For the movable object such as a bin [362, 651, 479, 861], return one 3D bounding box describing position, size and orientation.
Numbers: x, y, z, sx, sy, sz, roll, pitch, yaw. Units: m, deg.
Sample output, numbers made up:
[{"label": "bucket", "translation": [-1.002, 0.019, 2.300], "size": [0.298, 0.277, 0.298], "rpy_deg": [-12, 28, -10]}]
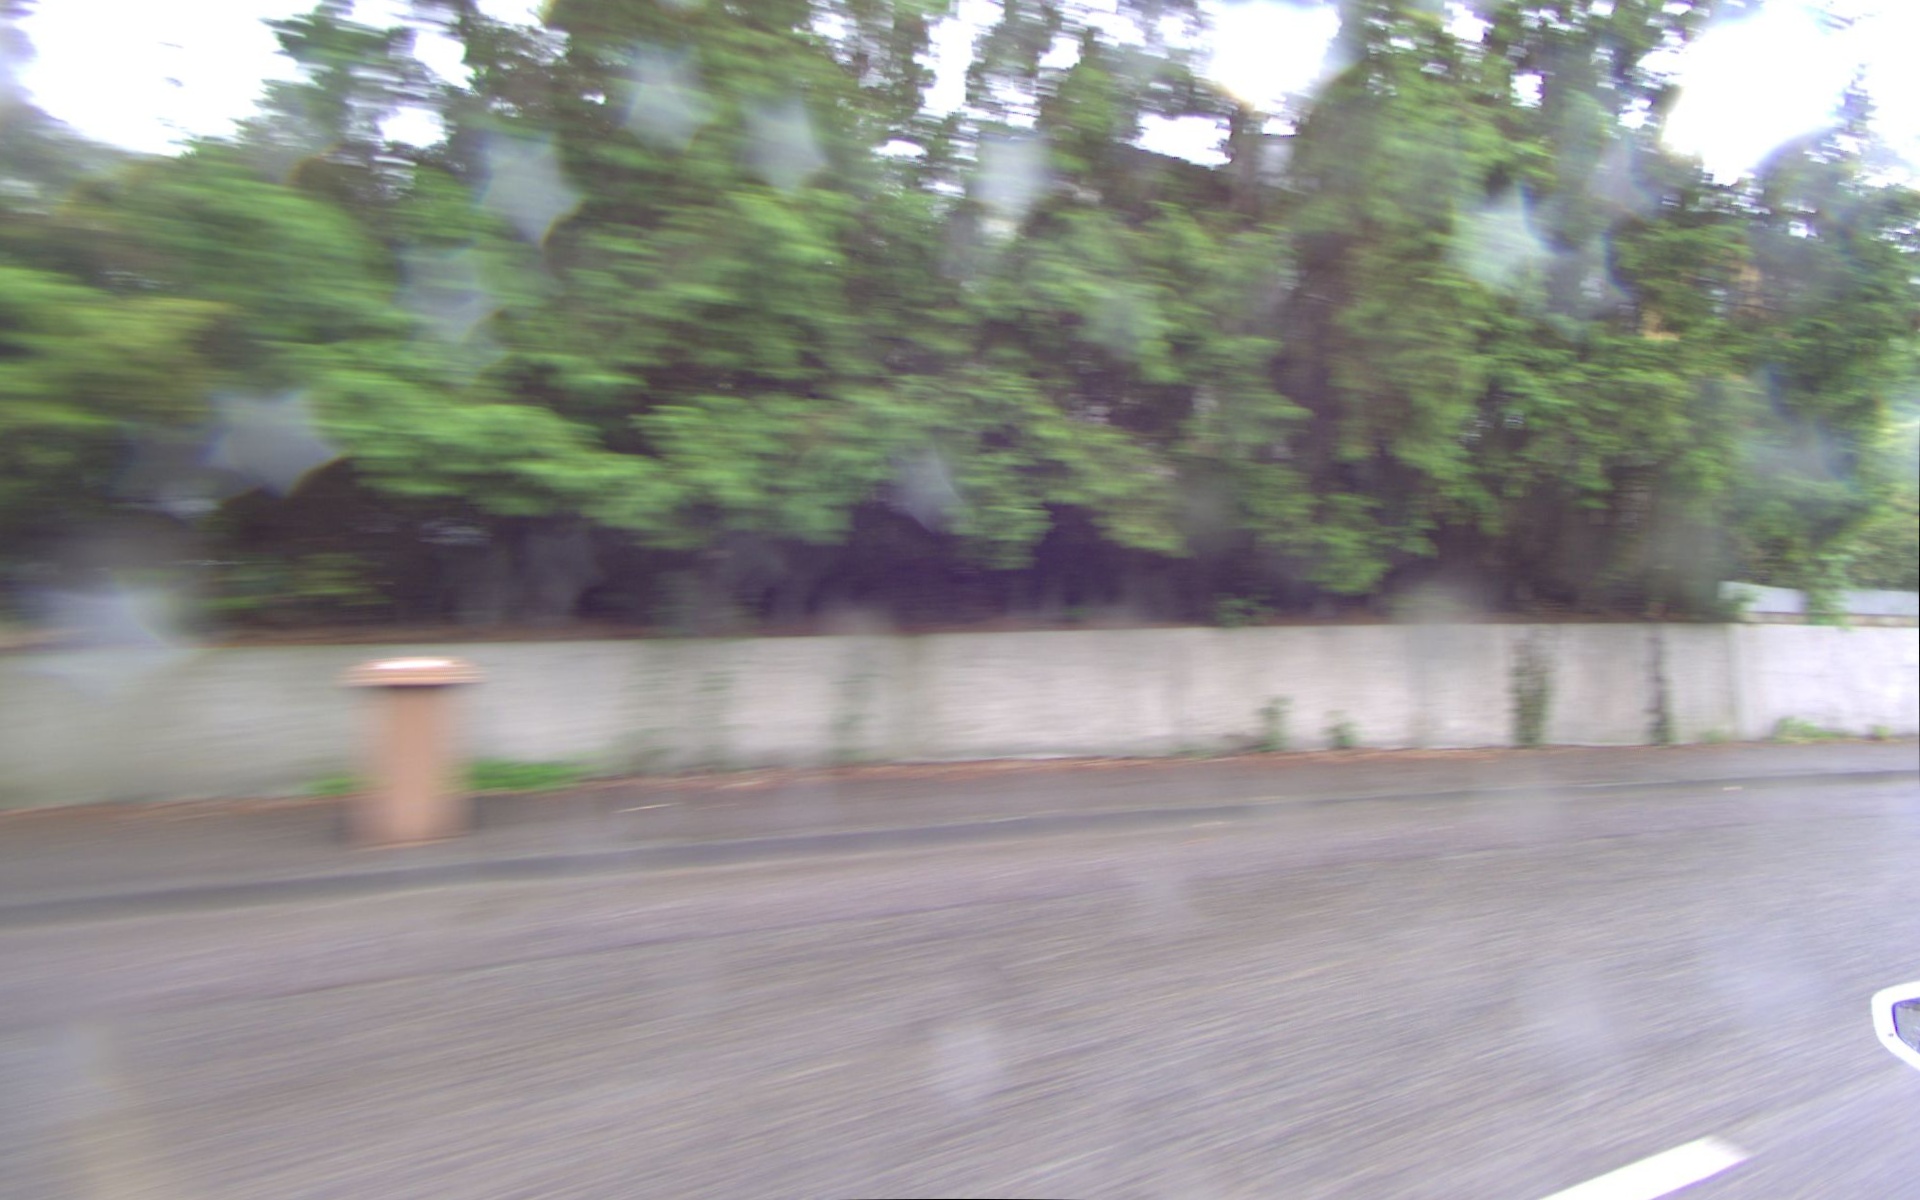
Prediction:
[{"label": "movable object such as a bin", "translation": [-2.814, 0.785, 5.255], "size": [0.484, 0.992, 0.498], "rpy_deg": [2, 2, -28]}]
